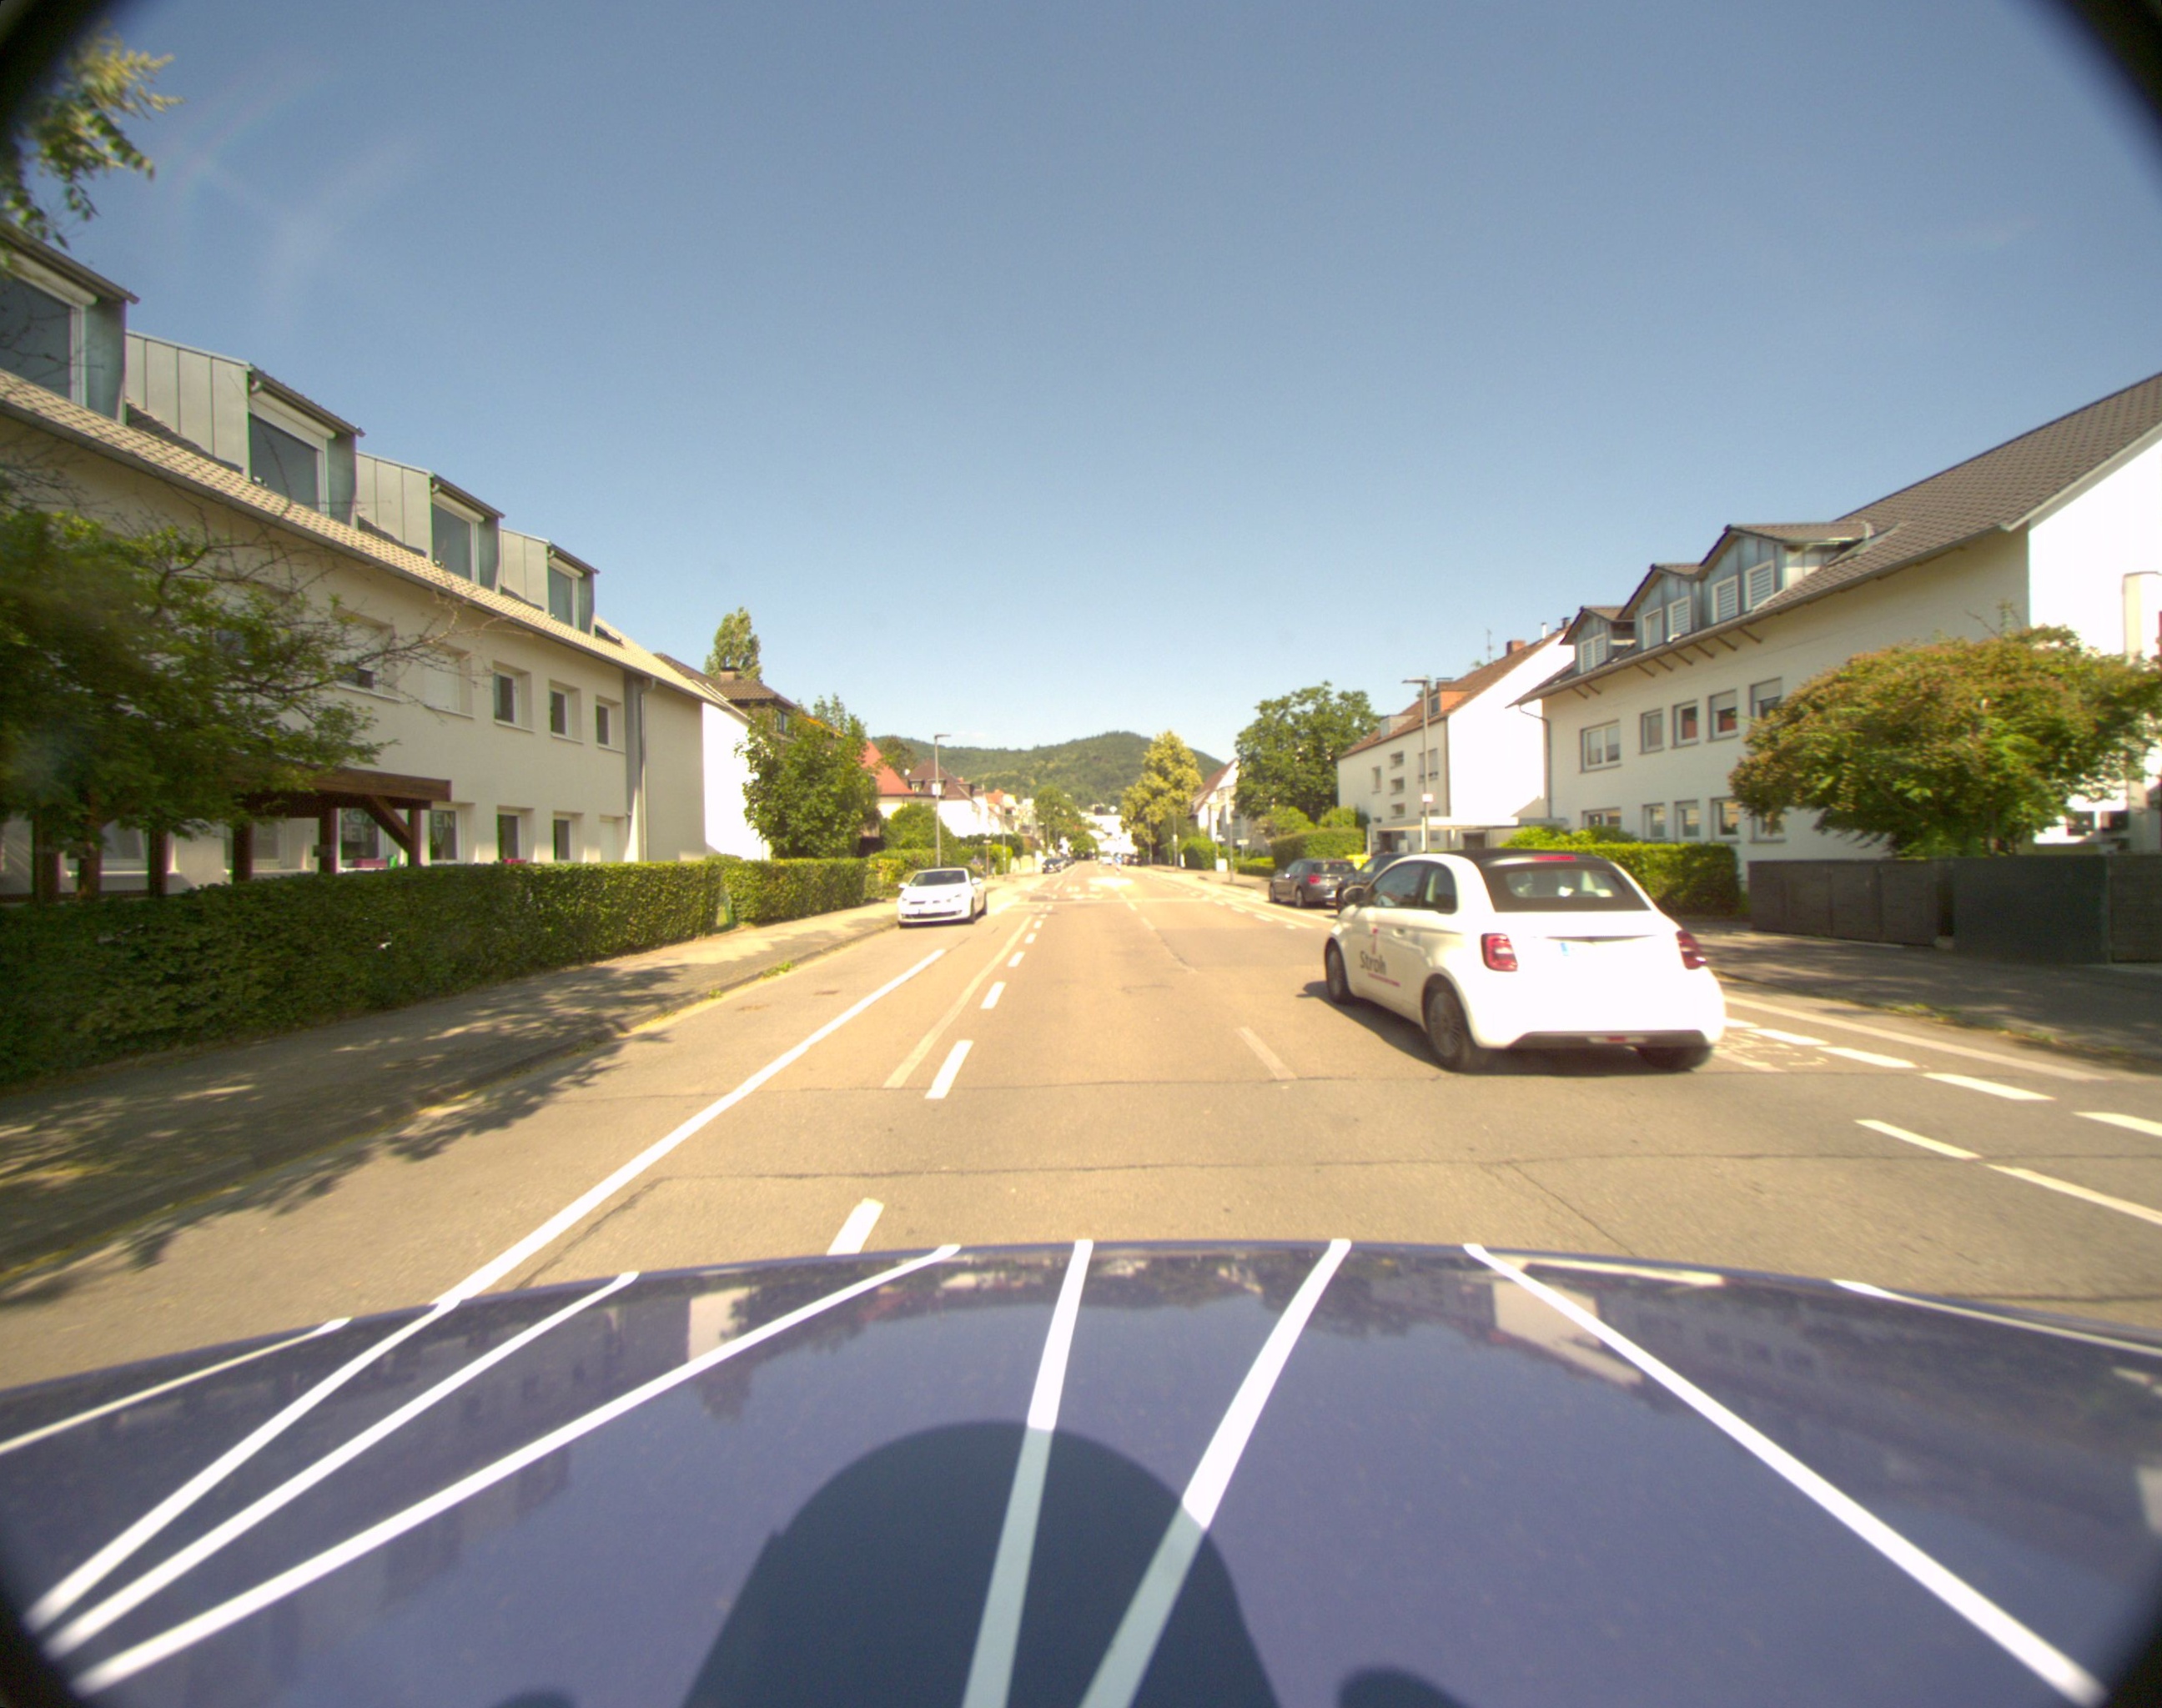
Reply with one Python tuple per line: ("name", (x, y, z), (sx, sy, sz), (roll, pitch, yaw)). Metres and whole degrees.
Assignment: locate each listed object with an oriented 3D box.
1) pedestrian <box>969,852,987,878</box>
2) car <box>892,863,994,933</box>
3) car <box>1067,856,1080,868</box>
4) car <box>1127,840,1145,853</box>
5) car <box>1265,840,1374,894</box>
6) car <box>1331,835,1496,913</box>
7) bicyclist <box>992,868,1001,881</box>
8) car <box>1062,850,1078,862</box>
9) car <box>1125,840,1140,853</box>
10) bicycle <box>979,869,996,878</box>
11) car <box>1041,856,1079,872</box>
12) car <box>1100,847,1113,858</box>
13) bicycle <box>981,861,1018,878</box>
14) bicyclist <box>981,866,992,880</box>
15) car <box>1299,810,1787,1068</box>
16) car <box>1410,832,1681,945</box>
("pedestrian", (-7.670, 0.817, 56.461), (0.903, 1.862, 1.186), (-3, 2, -32))
("car", (-3.346, 1.017, 19.226), (1.744, 1.394, 4.073), (-3, 1, 0))
("car", (-1.035, 1.075, 104.732), (1.726, 1.441, 4.167), (-4, 1, -1))
("car", (7.481, -1.052, 103.677), (1.856, 1.601, 4.447), (-2, 1, -1))
("car", (6.899, 0.326, 22.445), (1.790, 1.432, 4.153), (0, 1, -2))
("car", (6.831, 0.351, 16.116), (1.789, 1.432, 4.110), (0, 1, 2))
("bicyclist", (-6.270, 1.515, 56.410), (0.403, 0.924, 0.656), (-2, 2, -24))
("car", (-1.338, 0.234, 93.210), (1.741, 1.321, 4.075), (-4, 2, 1))
("car", (7.851, -1.117, 116.687), (1.889, 1.908, 4.868), (-3, 0, 1))
("bicycle", (-6.640, 1.385, 53.927), (1.153, 0.596, 0.401), (-2, 1, -38))
("car", (-2.025, 0.966, 73.994), (1.738, 1.460, 4.353), (0, 0, 27))
("car", (3.785, -0.260, 113.499), (1.920, 1.657, 4.505), (0, 1, 0))
("bicycle", (-6.022, 1.143, 56.197), (2.704, 1.152, 0.865), (-1, 1, 33))
("bicyclist", (-6.674, 1.327, 53.772), (0.610, 0.928, 0.399), (-3, 2, -38))
("car", (3.319, 0.473, 6.518), (1.736, 1.532, 3.999), (0, 1, 0))
("car", (6.845, 0.426, 11.787), (1.789, 1.432, 4.000), (0, 1, 1))
